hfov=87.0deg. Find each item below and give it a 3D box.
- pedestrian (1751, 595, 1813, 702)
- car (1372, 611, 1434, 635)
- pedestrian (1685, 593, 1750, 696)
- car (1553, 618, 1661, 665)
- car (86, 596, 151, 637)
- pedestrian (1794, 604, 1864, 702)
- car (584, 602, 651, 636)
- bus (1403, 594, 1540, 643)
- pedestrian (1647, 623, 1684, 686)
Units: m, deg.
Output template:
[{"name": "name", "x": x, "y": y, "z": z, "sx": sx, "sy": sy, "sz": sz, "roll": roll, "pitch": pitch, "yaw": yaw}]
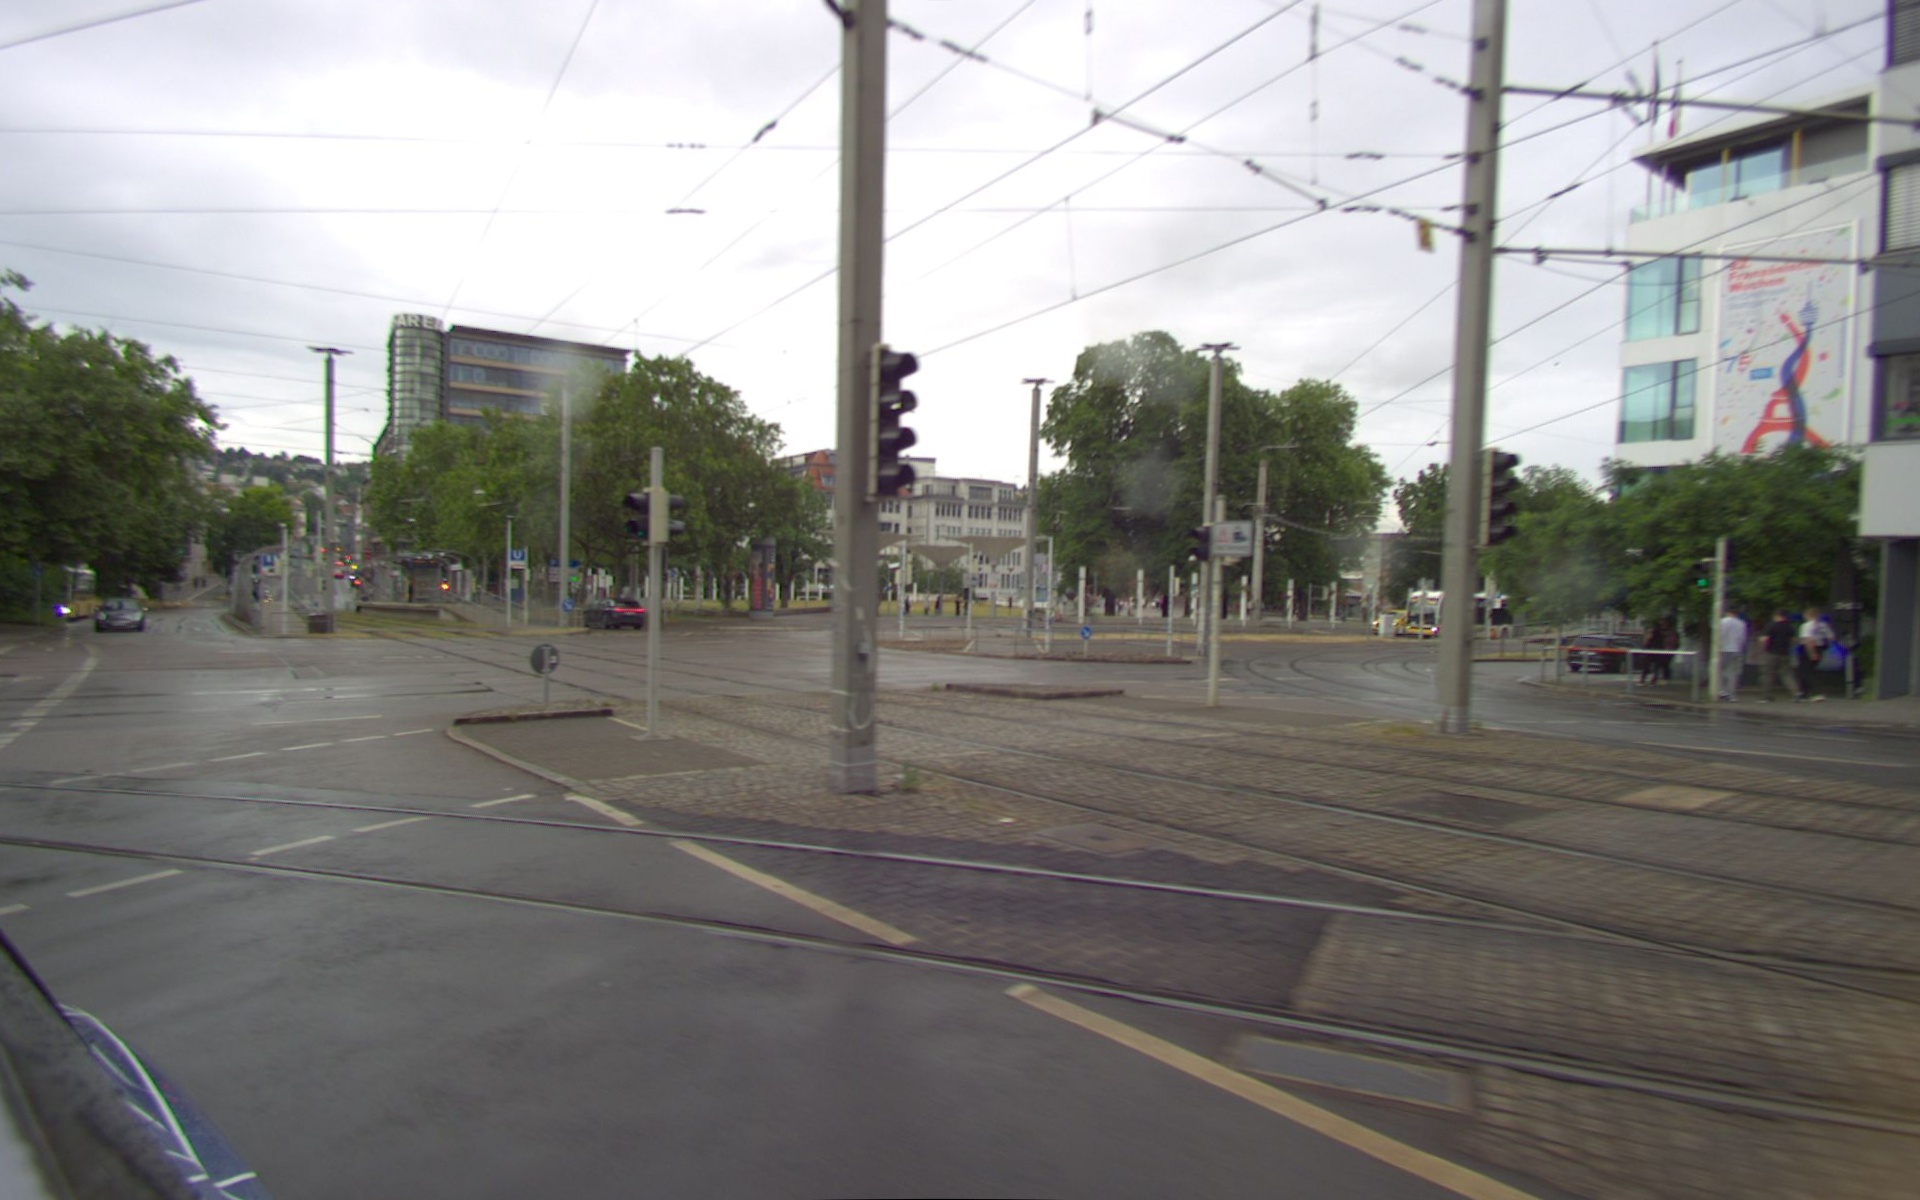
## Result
[{"name": "pedestrian", "x": 15.346, "y": 0.882, "z": 18.894, "sx": 0.707, "sy": 1.928, "sz": 0.700, "roll": 0, "pitch": 0, "yaw": -34}, {"name": "car", "x": 31.920, "y": 1.632, "z": 72.847, "sx": 4.460, "sy": 1.658, "sz": 2.005, "roll": 0, "pitch": 0, "yaw": -34}, {"name": "pedestrian", "x": 14.534, "y": 0.837, "z": 19.438, "sx": 0.689, "sy": 1.928, "sz": 0.718, "roll": 1, "pitch": 0, "yaw": 4}, {"name": "car", "x": 25.627, "y": 1.595, "z": 40.045, "sx": 4.319, "sy": 1.596, "sz": 2.048, "roll": 0, "pitch": 2, "yaw": -35}, {"name": "car", "x": -37.519, "y": 0.701, "z": 45.205, "sx": 1.967, "sy": 1.719, "sz": 4.010, "roll": 0, "pitch": 0, "yaw": -36}, {"name": "pedestrian", "x": 16.154, "y": 0.968, "z": 18.831, "sx": 0.690, "sy": 1.775, "sz": 0.717, "roll": 1, "pitch": 0, "yaw": 11}, {"name": "car", "x": -16.801, "y": 0.892, "z": 49.493, "sx": 2.070, "sy": 1.517, "sz": 4.745, "roll": 0, "pitch": 0, "yaw": -32}, {"name": "bus", "x": 36.914, "y": 1.268, "z": 72.755, "sx": 12.312, "sy": 3.325, "sz": 3.095, "roll": 0, "pitch": 0, "yaw": -34}, {"name": "pedestrian", "x": 17.865, "y": 1.369, "z": 25.646, "sx": 0.512, "sy": 1.575, "sz": 0.545, "roll": 1, "pitch": 0, "yaw": -14}]
